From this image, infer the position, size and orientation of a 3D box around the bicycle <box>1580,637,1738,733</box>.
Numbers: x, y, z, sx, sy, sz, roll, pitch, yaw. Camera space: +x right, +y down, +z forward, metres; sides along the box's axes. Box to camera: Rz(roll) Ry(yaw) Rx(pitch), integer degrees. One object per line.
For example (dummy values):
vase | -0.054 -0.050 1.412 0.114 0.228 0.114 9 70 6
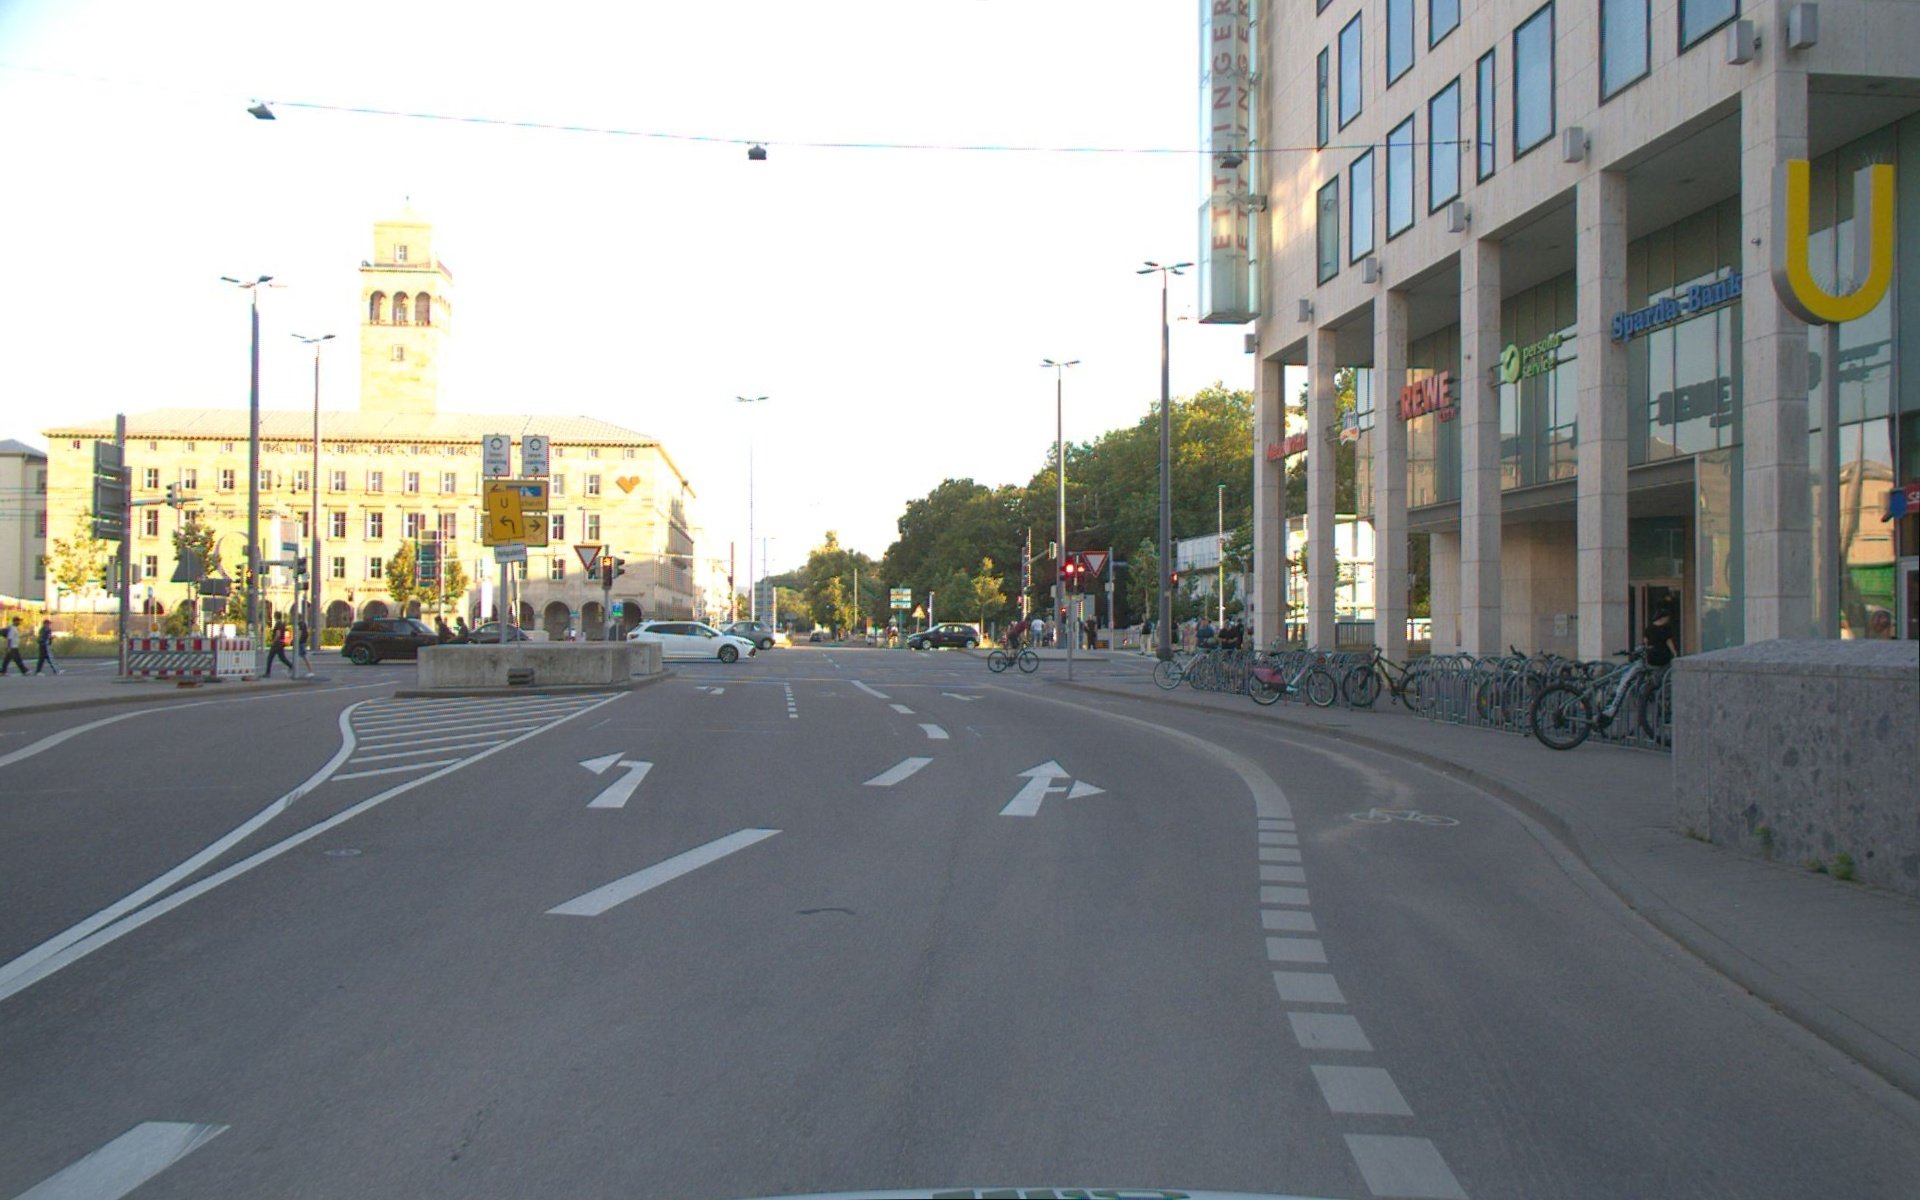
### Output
bicycle | 8.541 1.030 20.242 1.730 1.149 0.516 0 -1 -4

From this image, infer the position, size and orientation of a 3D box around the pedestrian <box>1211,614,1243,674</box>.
pedestrian | 8.219 1.351 50.952 0.741 1.808 0.740 -3 -1 -5

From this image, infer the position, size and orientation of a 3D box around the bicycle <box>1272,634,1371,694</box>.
bicycle | 7.284 1.291 33.346 1.834 1.133 0.570 2 -1 -3

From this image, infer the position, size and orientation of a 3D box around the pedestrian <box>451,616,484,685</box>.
pedestrian | -13.114 1.340 44.034 0.729 1.808 0.856 0 -1 -26

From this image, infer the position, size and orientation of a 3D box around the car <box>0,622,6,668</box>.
car | -36.722 1.656 60.330 3.085 1.714 1.602 0 -1 -20

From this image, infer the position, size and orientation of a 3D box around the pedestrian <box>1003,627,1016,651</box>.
pedestrian | 3.591 2.843 120.768 0.793 1.760 0.927 0 -1 -8

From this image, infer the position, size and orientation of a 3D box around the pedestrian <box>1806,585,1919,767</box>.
pedestrian | 9.080 0.745 16.525 0.818 1.766 0.819 0 -1 1

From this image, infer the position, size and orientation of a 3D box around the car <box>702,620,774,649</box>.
car | -11.728 1.825 87.270 3.649 1.478 1.541 0 -1 -13

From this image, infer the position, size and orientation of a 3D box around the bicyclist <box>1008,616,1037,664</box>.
bicyclist | 2.045 1.301 54.054 0.862 1.558 0.652 0 -1 -7

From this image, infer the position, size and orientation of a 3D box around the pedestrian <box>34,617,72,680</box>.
pedestrian | -27.031 1.441 49.264 0.735 1.808 0.849 -2 -1 -45

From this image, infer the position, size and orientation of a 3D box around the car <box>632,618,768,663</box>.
car | -9.192 1.431 58.831 4.705 1.522 2.125 0 -1 -7

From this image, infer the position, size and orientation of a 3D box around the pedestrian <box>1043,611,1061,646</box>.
pedestrian | 4.686 1.444 84.667 0.793 1.760 0.686 0 -1 -8

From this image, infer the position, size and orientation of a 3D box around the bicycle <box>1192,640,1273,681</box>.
bicycle | 6.539 1.443 39.701 1.832 0.953 0.515 0 -1 -8

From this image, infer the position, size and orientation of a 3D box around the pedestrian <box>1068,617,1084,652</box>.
pedestrian | 5.989 1.772 85.050 0.791 1.760 0.688 0 -1 6

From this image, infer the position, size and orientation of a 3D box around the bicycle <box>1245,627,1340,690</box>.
bicycle | 7.058 1.239 35.110 1.832 1.282 0.672 2 -1 -8

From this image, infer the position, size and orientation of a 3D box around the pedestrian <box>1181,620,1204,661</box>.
pedestrian | 10.035 1.747 71.443 0.819 1.760 0.687 0 -1 -5

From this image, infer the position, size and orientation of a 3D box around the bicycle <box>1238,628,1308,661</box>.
bicycle | 10.452 1.475 55.262 2.198 1.081 0.653 0 -1 -5

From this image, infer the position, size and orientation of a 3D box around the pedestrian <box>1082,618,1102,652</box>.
pedestrian | 6.797 1.795 85.175 0.801 1.760 0.679 0 -1 -35

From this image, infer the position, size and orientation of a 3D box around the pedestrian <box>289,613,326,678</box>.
pedestrian | -18.743 1.311 47.513 0.725 1.808 0.861 -3 -1 -9

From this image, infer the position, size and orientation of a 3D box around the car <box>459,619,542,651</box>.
car | -23.227 1.762 83.569 3.929 1.520 1.817 0 -1 -21

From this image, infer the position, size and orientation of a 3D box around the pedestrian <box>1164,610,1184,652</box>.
pedestrian | 9.073 1.308 70.132 0.818 1.760 0.688 0 -1 9

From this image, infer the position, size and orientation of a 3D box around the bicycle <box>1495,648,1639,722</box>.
bicycle | 8.128 1.131 22.177 1.774 0.953 0.515 0 -1 -8

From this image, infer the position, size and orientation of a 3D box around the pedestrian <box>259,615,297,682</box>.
pedestrian | -19.109 1.351 46.355 0.725 1.808 0.861 -3 -1 -9

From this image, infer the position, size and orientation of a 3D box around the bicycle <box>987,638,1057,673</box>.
bicycle | 2.027 1.807 54.048 2.199 1.081 0.652 0 -1 -7

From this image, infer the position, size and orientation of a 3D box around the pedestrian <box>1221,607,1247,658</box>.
pedestrian | 10.142 1.188 61.258 0.874 1.872 0.688 0 -1 1

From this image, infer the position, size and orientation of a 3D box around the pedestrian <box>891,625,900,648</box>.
pedestrian | -4.086 2.315 104.940 0.513 1.398 0.686 0 -1 -10

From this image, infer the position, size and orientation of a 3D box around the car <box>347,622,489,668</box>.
car | -18.908 1.553 57.881 4.375 1.522 2.125 0 -1 -7

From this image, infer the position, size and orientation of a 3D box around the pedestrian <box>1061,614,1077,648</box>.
pedestrian | 5.635 1.602 85.730 0.791 1.760 0.688 0 -1 6

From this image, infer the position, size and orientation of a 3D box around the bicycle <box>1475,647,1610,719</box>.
bicycle | 8.029 1.131 22.805 1.705 0.953 0.515 0 -1 -8

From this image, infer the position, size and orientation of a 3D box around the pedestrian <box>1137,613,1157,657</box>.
pedestrian | 7.622 1.417 67.510 0.678 1.760 0.740 0 -1 -4

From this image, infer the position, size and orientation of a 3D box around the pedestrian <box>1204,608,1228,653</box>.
pedestrian | 9.924 1.179 64.186 0.874 1.760 0.688 0 -1 4

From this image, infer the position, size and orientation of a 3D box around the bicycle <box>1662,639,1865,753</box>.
bicycle | 8.805 1.048 18.162 1.948 1.149 0.555 2 -1 -2

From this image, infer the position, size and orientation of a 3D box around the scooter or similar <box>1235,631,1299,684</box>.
scooter or similar | 6.844 1.277 36.865 1.251 1.180 0.672 0 -1 -8

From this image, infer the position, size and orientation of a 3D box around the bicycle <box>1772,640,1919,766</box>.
bicycle | 9.061 0.996 16.211 1.947 1.199 0.516 0 -1 -2

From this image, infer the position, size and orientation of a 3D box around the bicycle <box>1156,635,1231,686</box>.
bicycle | 5.657 1.460 39.992 1.778 1.234 0.571 0 -1 9

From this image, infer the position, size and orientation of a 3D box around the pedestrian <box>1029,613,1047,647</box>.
pedestrian | 3.965 1.533 84.489 0.793 1.760 0.686 0 -1 -8

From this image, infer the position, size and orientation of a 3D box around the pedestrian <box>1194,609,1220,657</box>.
pedestrian | 9.159 1.212 61.320 0.874 1.760 0.688 0 -1 1

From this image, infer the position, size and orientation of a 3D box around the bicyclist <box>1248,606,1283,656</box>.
bicyclist | 10.205 1.021 55.249 1.000 1.649 0.653 0 -1 -5

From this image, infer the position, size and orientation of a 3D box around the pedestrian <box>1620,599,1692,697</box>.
pedestrian | 13.302 0.906 31.622 0.844 1.808 0.989 -2 -1 -7

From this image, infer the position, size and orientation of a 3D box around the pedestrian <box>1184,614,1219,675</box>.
pedestrian | 7.428 1.361 50.874 0.844 1.808 0.740 -3 -1 -5

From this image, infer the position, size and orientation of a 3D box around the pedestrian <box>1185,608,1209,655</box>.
pedestrian | 9.017 1.190 62.926 0.874 1.760 0.688 0 -1 4

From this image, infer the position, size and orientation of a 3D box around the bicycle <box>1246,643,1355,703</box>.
bicycle | 6.210 1.321 30.197 1.860 1.066 0.570 0 -1 -2

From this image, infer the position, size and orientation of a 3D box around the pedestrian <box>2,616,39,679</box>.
pedestrian | -27.970 1.411 49.248 0.735 1.808 0.850 -2 -1 -43

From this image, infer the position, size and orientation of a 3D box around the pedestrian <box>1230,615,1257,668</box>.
pedestrian | 10.062 1.463 58.711 0.874 1.863 0.688 0 -1 2

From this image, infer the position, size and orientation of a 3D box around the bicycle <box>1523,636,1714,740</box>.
bicycle | 7.513 0.999 18.906 1.947 1.149 0.570 0 -1 -2

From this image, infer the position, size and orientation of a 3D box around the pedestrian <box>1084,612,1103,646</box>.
pedestrian | 6.949 1.505 86.162 0.679 1.760 0.802 0 -1 -32

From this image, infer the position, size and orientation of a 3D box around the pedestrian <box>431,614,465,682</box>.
pedestrian | -13.846 1.293 44.736 0.729 1.808 0.856 1 -1 -26

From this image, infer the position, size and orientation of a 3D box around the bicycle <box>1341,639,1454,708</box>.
bicycle | 7.649 1.283 28.962 1.779 1.119 0.601 2 -1 1

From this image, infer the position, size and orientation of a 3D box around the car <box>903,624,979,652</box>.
car | -1.057 2.092 90.796 3.914 1.478 1.538 0 -1 -19
